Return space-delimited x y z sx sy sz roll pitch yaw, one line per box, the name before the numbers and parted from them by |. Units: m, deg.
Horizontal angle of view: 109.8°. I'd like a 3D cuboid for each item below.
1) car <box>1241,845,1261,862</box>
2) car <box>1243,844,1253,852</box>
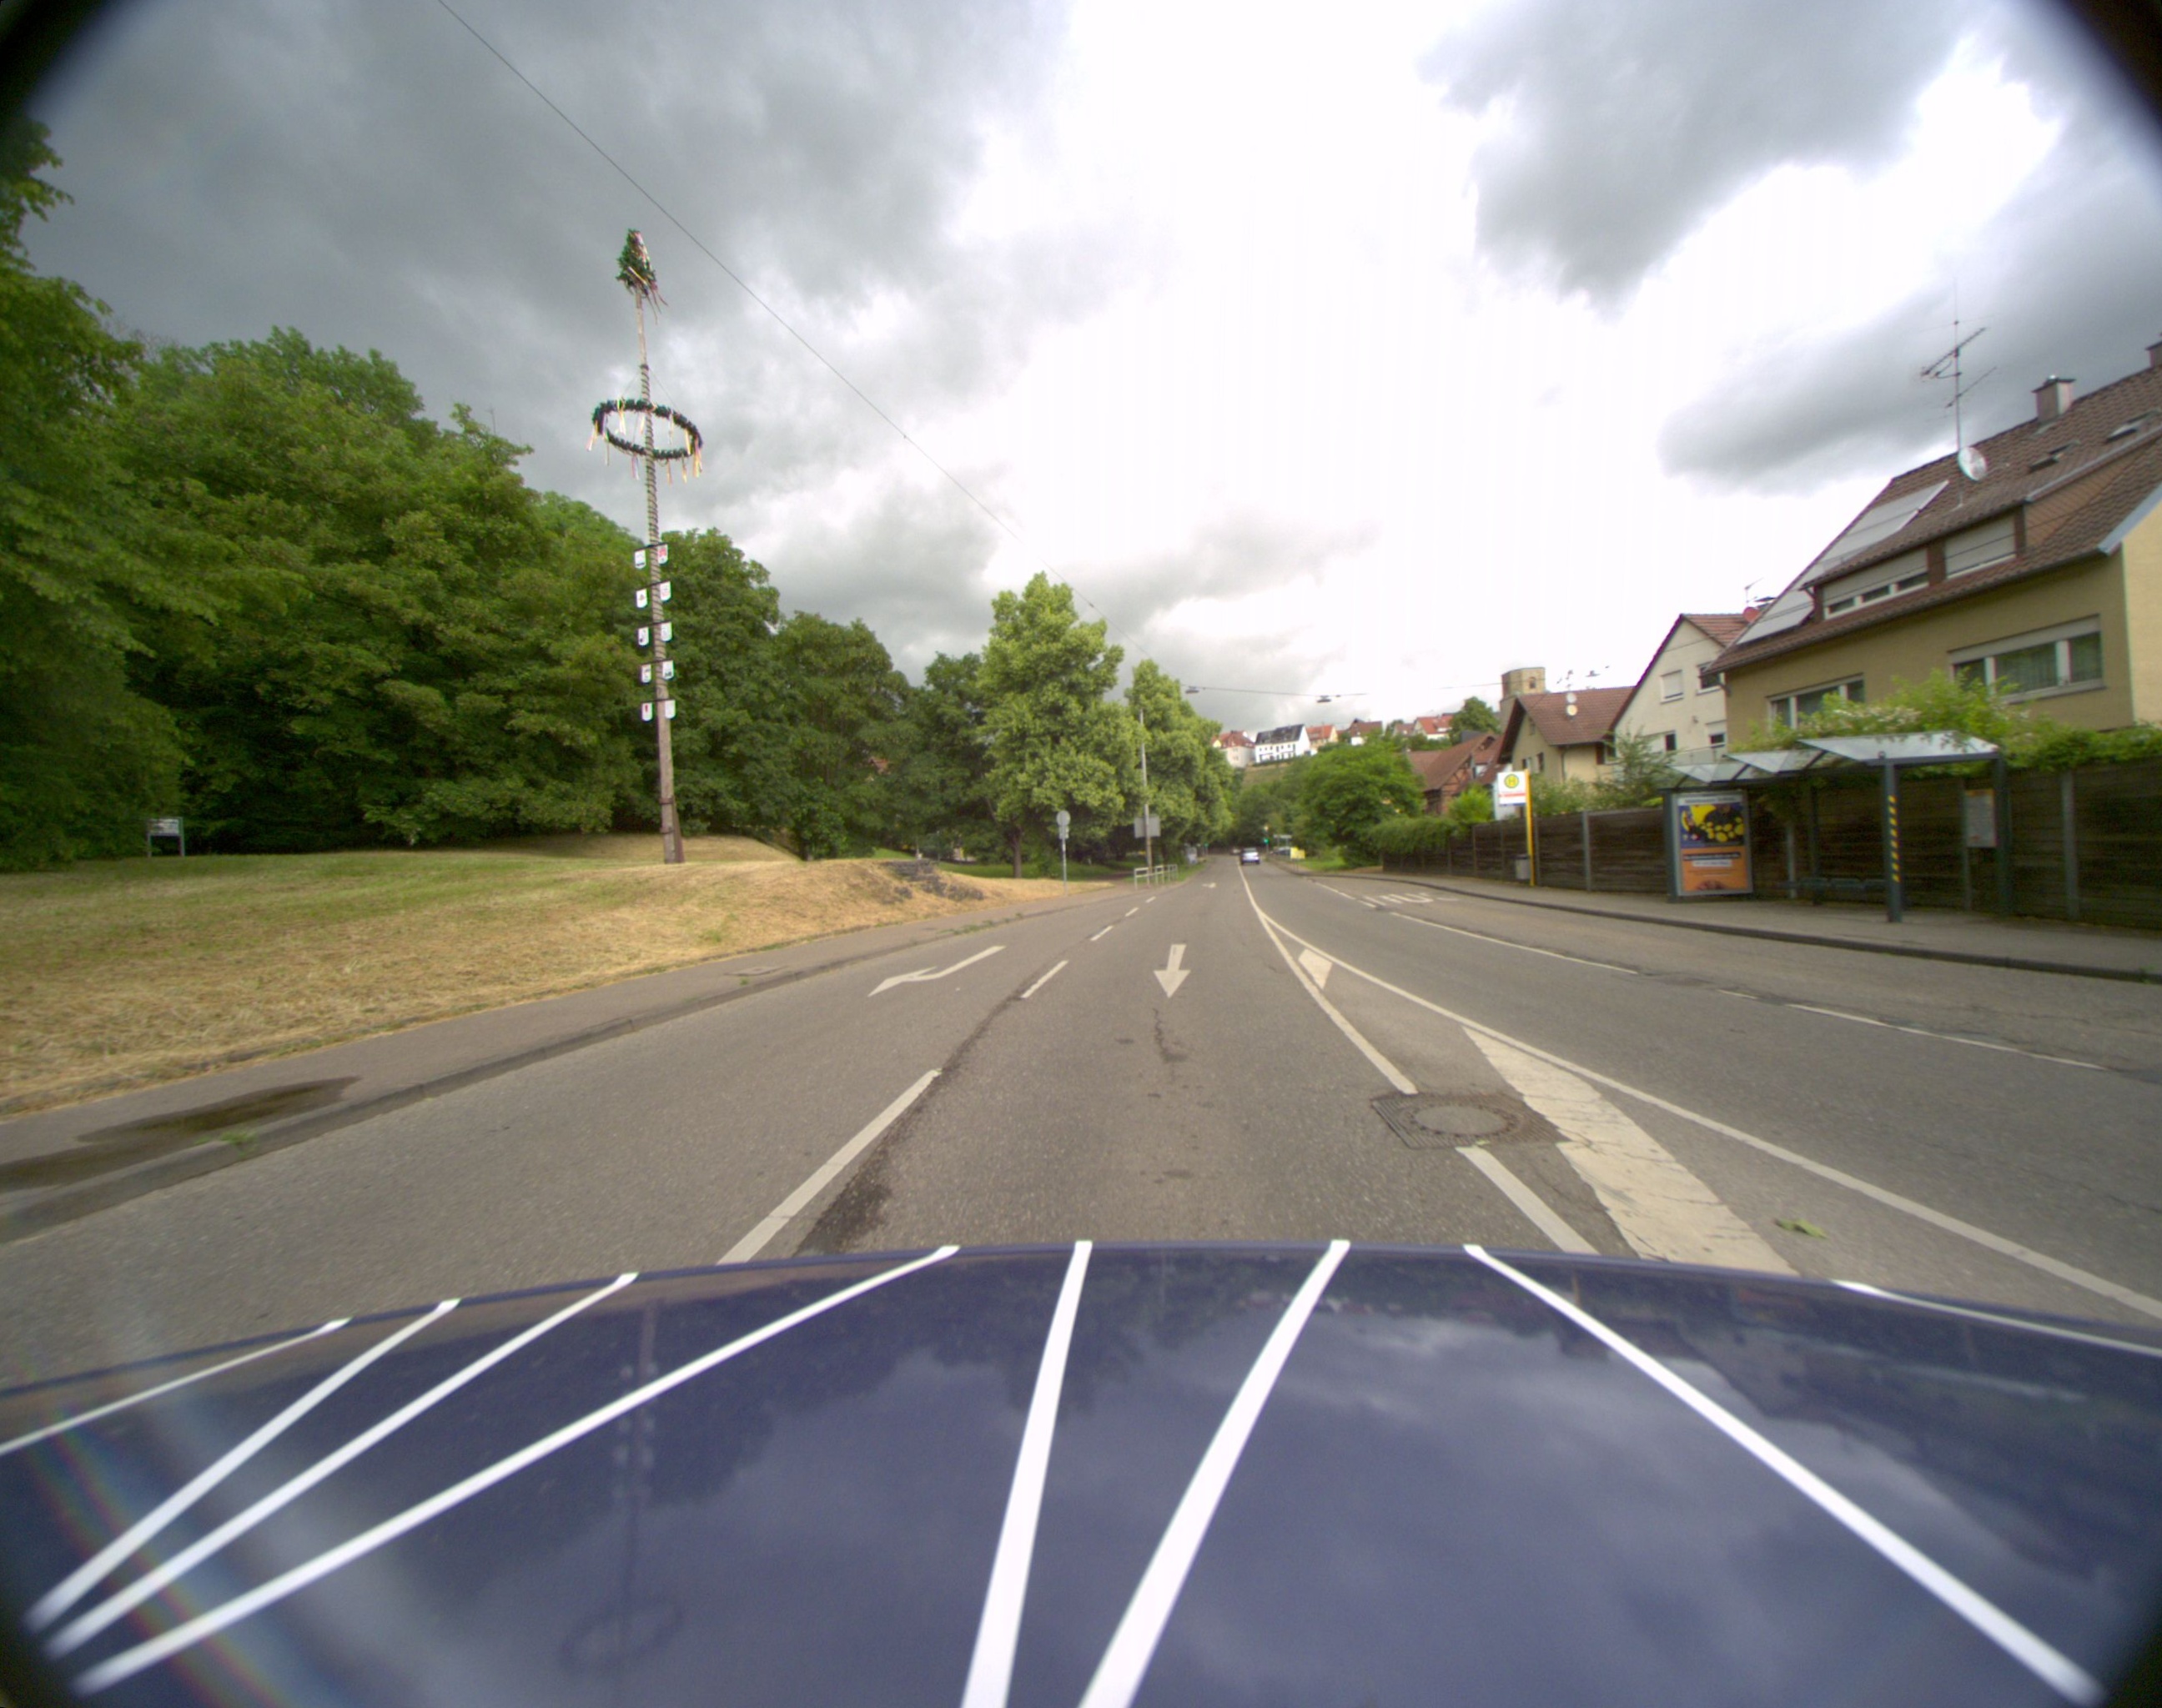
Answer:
car | 18.155 -0.038 81.183 1.938 1.714 4.695 -2 0 11
car | 32.306 -1.154 147.149 1.707 1.503 4.003 -1 0 12
